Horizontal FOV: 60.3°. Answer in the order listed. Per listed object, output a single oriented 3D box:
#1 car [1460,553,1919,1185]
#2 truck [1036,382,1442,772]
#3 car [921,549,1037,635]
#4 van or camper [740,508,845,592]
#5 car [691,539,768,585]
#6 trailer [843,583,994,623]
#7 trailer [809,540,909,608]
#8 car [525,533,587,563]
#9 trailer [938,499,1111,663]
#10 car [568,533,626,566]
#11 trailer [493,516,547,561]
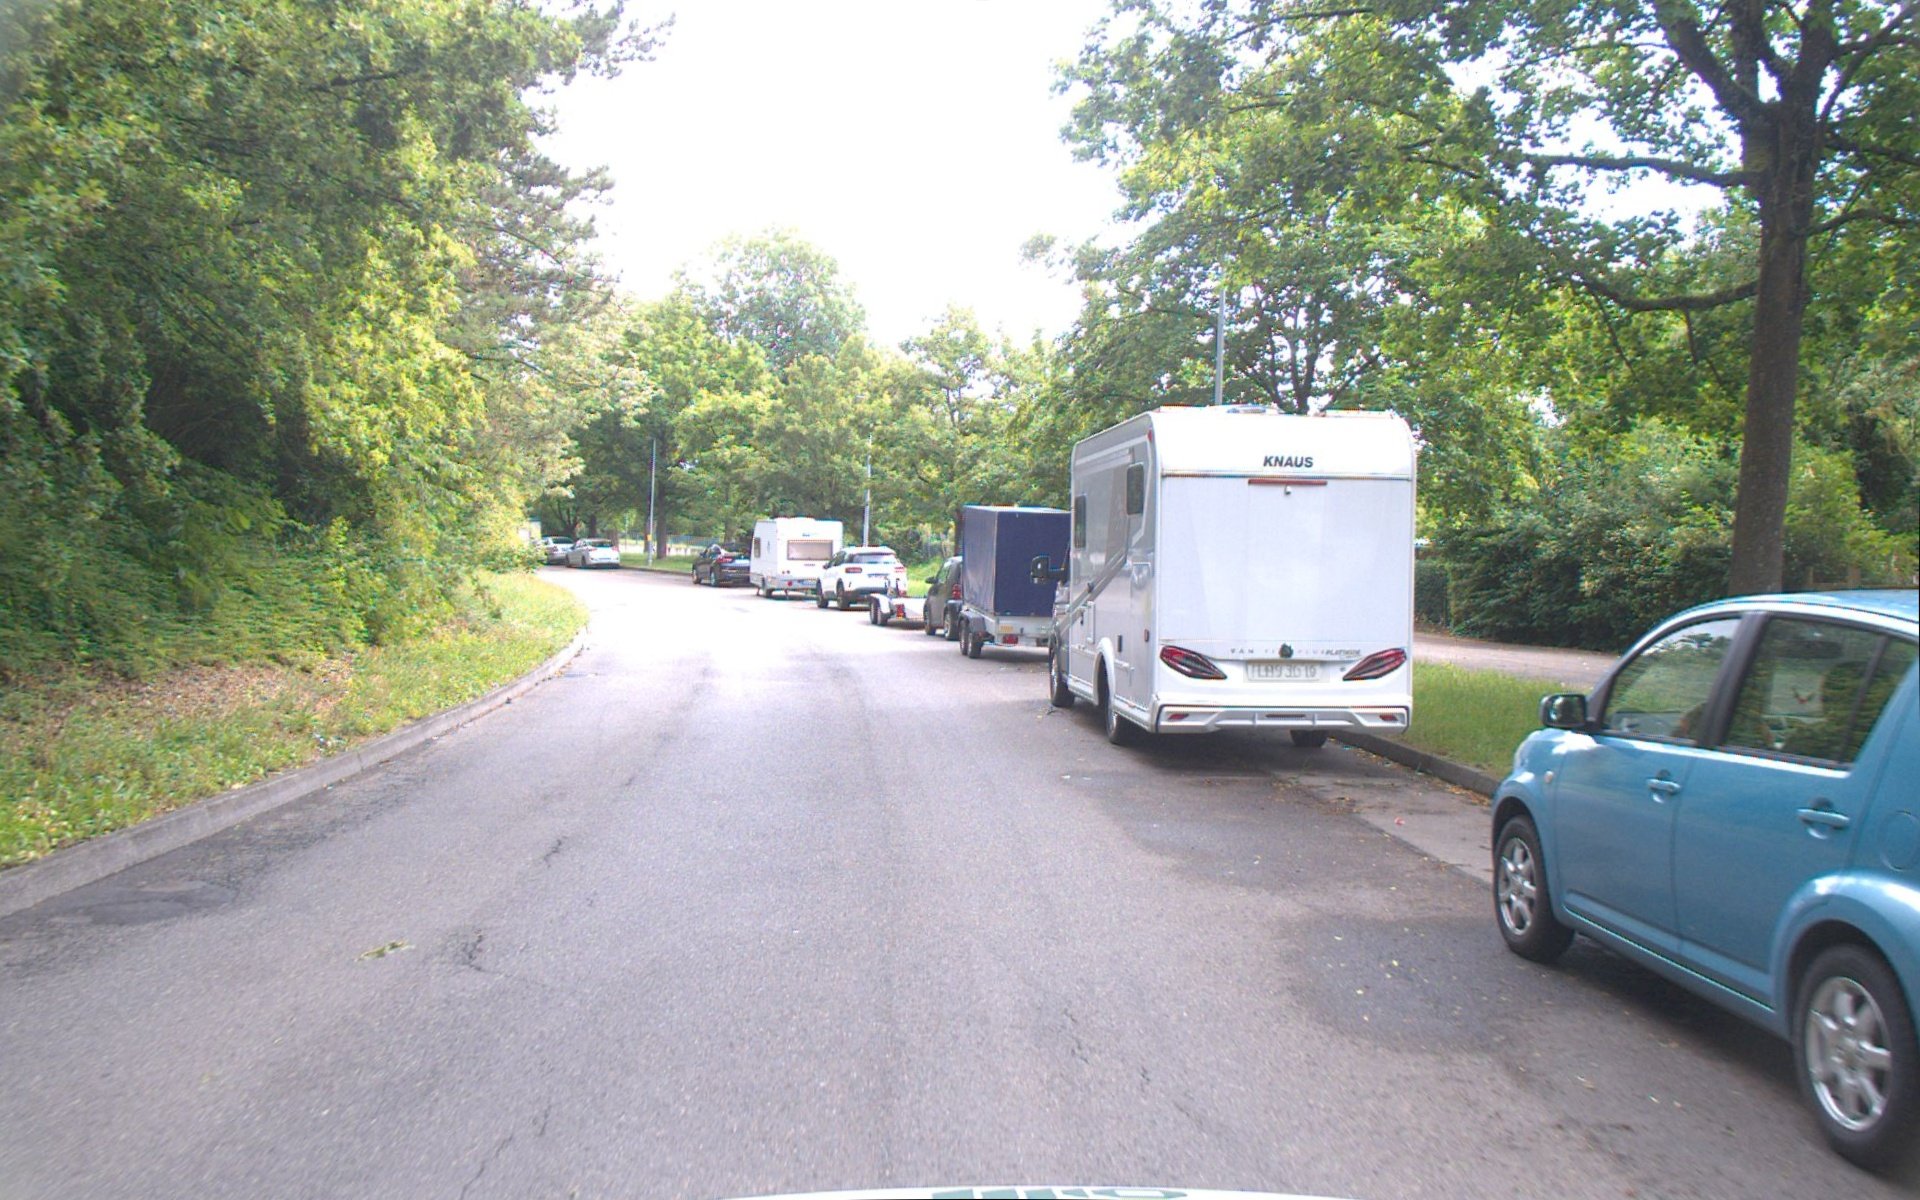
[{"bbox_3d":[3.170,0.654,5.581,1.661,1.574,3.767,1,1,-3],"label":"car"},{"bbox_3d":[2.324,-0.288,16.269,2.259,2.984,7.027,0,2,-5],"label":"truck"},{"bbox_3d":[0.312,-0.135,32.159,1.697,1.549,3.398,1,0,-9],"label":"car"},{"bbox_3d":[-5.620,-1.643,54.670,2.128,2.580,5.999,1,1,-19],"label":"van or camper"},{"bbox_3d":[-8.923,-1.508,63.753,1.824,1.671,4.498,0,2,-24],"label":"car"},{"bbox_3d":[-1.073,0.036,37.751,2.069,0.662,6.378,1,1,-14],"label":"trailer"},{"bbox_3d":[-2.869,-0.742,45.969,1.744,1.760,4.629,-1,1,-17],"label":"trailer"},{"bbox_3d":[-21.540,-2.782,88.058,1.726,1.551,4.581,-1,3,-34],"label":"car"},{"bbox_3d":[0.950,-0.432,27.149,2.067,2.402,4.695,-1,4,-7],"label":"trailer"},{"bbox_3d":[-18.097,-2.502,82.341,1.880,1.502,4.023,1,0,-27],"label":"car"},{"bbox_3d":[-24.617,-3.436,92.418,1.746,2.468,3.840,-1,3,-35],"label":"trailer"}]
